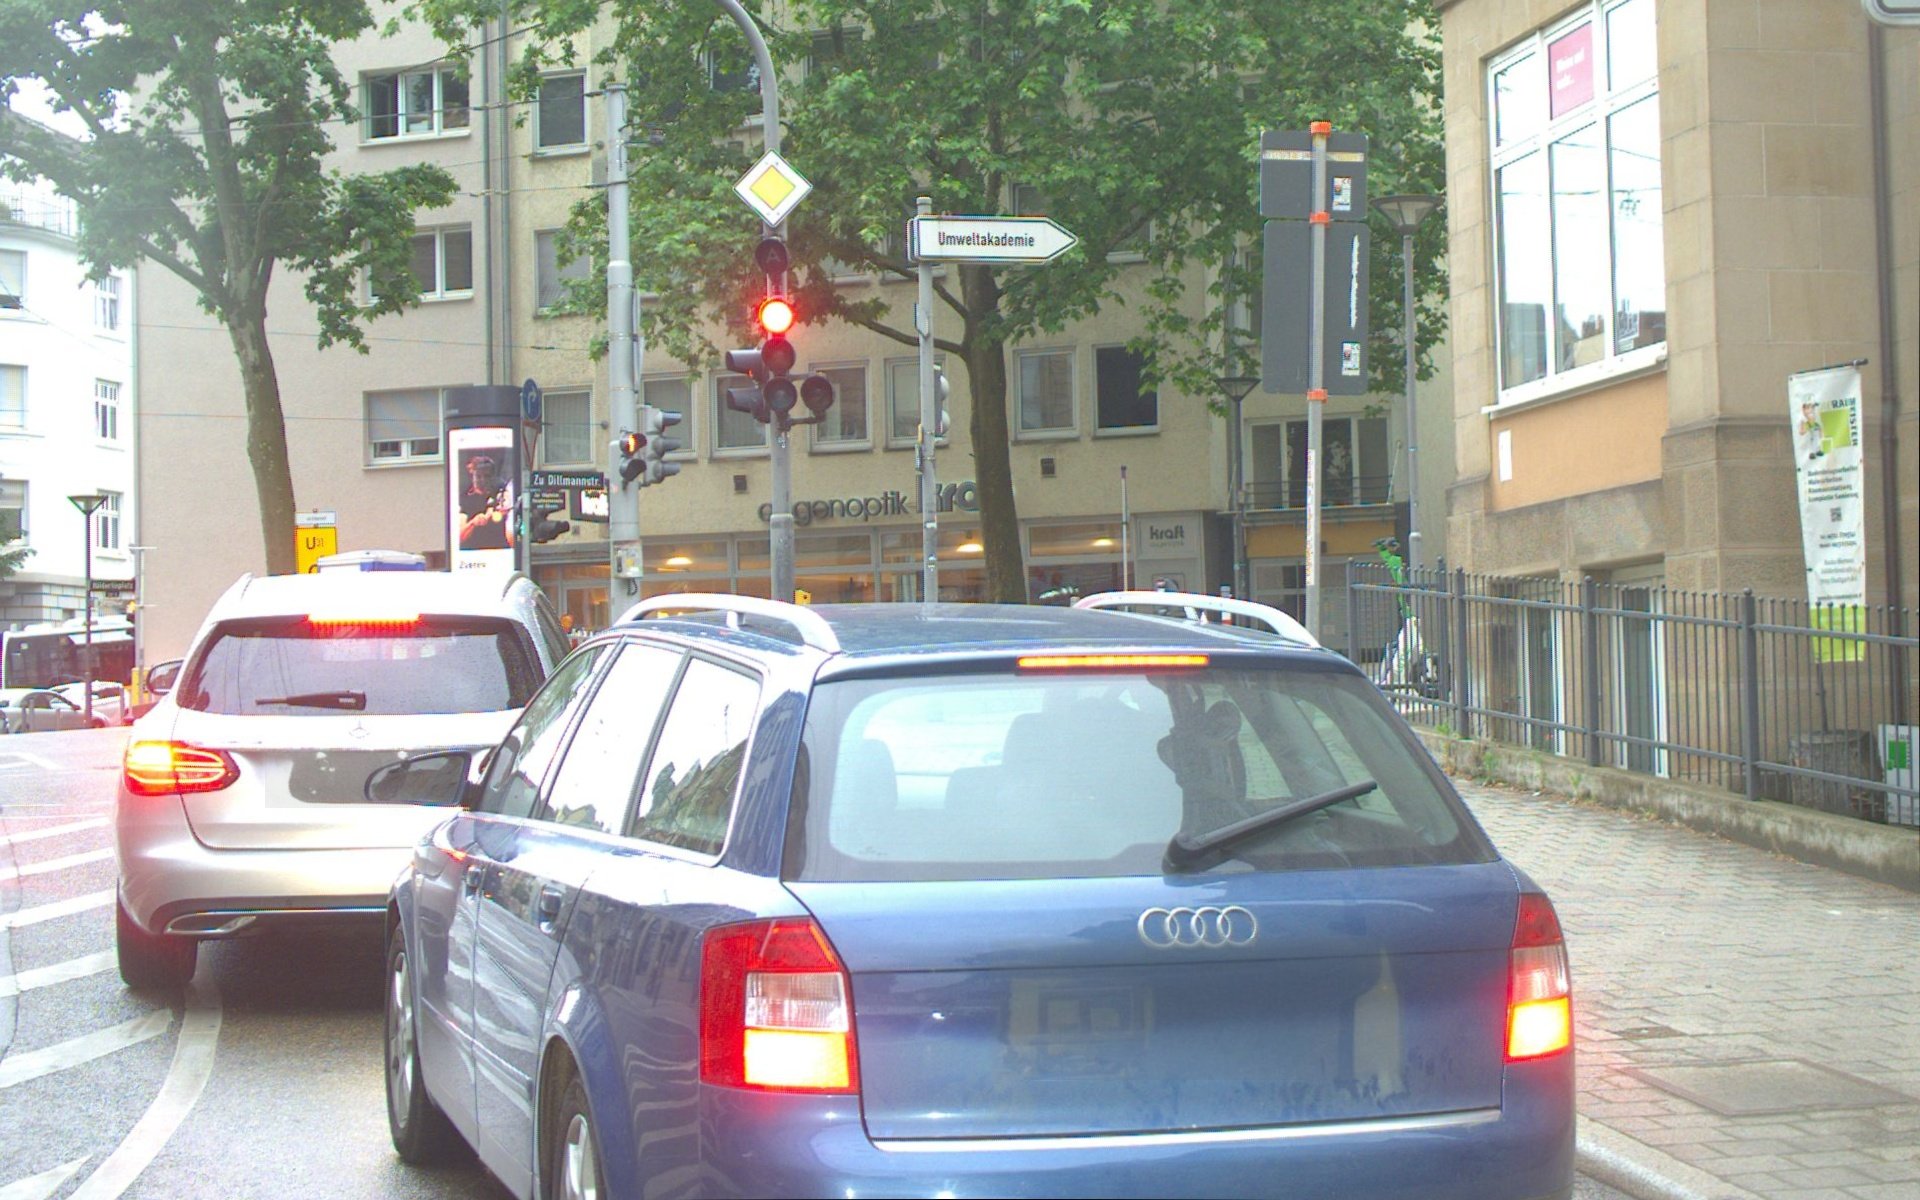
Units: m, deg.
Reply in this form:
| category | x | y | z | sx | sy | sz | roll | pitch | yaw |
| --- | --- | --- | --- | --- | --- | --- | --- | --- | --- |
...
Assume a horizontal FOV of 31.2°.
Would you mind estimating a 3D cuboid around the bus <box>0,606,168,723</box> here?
| category | x | y | z | sx | sy | sz | roll | pitch | yaw |
| --- | --- | --- | --- | --- | --- | --- | --- | --- | --- |
| bus | -25.137 | 1.726 | 94.420 | 2.856 | 2.851 | 8.728 | -1 | 1 | 14 |

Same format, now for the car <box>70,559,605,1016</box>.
| category | x | y | z | sx | sy | sz | roll | pitch | yaw |
| --- | --- | --- | --- | --- | --- | --- | --- | --- | --- |
| car | -2.250 | 0.582 | 12.931 | 1.710 | 1.451 | 3.554 | 0 | 1 | -8 |

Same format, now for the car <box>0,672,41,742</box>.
| category | x | y | z | sx | sy | sz | roll | pitch | yaw |
| --- | --- | --- | --- | --- | --- | --- | --- | --- | --- |
| car | -24.116 | 2.652 | 83.017 | 1.796 | 1.609 | 3.997 | -1 | 1 | 17 |

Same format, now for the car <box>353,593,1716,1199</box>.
| category | x | y | z | sx | sy | sz | roll | pitch | yaw |
| --- | --- | --- | --- | --- | --- | --- | --- | --- | --- |
| car | -0.179 | 0.726 | 7.237 | 1.710 | 1.410 | 4.037 | 0 | 1 | -17 |

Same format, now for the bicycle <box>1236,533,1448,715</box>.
| category | x | y | z | sx | sy | sz | roll | pitch | yaw |
| --- | --- | --- | --- | --- | --- | --- | --- | --- | --- |
| bicycle | 2.635 | 0.159 | 23.743 | 1.300 | 1.169 | 0.526 | -3 | 1 | -12 |

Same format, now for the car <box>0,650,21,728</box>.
| category | x | y | z | sx | sy | sz | roll | pitch | yaw |
| --- | --- | --- | --- | --- | --- | --- | --- | --- | --- |
| car | -20.013 | 1.863 | 67.976 | 1.794 | 1.505 | 4.000 | -4 | 1 | -1 |

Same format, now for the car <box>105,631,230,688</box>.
| category | x | y | z | sx | sy | sz | roll | pitch | yaw |
| --- | --- | --- | --- | --- | --- | --- | --- | --- | --- |
| car | -23.468 | 1.746 | 101.954 | 1.796 | 1.505 | 3.997 | -1 | 1 | 17 |

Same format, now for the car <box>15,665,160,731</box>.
| category | x | y | z | sx | sy | sz | roll | pitch | yaw |
| --- | --- | --- | --- | --- | --- | --- | --- | --- | --- |
| car | -22.659 | 2.538 | 89.437 | 1.796 | 1.505 | 3.997 | -1 | 1 | 17 |

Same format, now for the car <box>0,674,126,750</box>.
| category | x | y | z | sx | sy | sz | roll | pitch | yaw |
| --- | --- | --- | --- | --- | --- | --- | --- | --- | --- |
| car | -21.403 | 2.558 | 79.070 | 1.796 | 1.505 | 4.660 | -1 | 1 | 24 |
